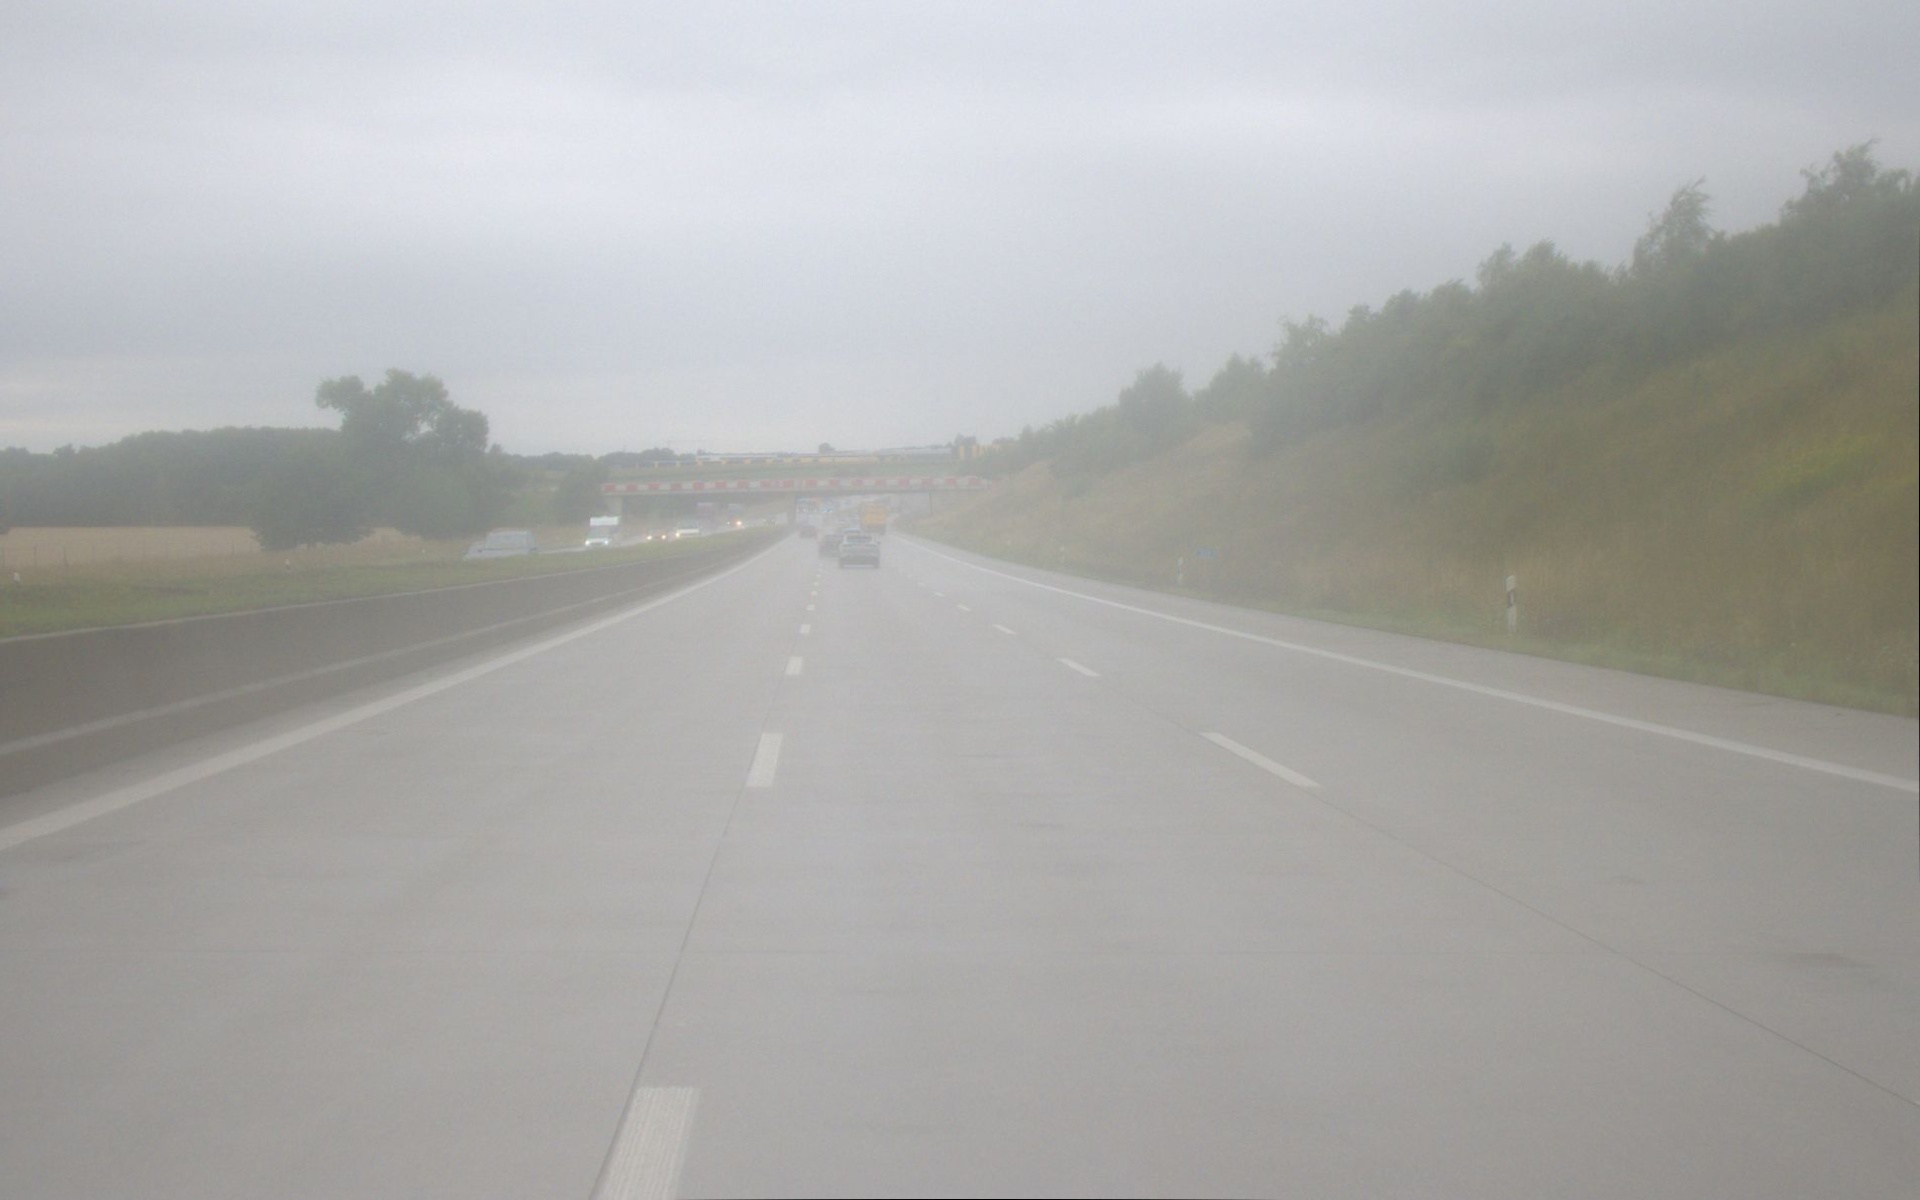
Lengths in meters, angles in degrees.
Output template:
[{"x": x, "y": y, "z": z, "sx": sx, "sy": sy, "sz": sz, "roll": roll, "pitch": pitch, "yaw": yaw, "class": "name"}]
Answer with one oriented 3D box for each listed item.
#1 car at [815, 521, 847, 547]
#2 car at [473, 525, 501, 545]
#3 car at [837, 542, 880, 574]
[{"x": -7.135, "y": -3.634, "z": 189.339, "sx": 1.729, "sy": 1.326, "sz": 4.431, "roll": 0, "pitch": 3, "yaw": -3, "class": "car"}, {"x": -34.272, "y": -4.709, "z": 249.197, "sx": 1.672, "sy": 1.393, "sz": 4.066, "roll": 0, "pitch": 1, "yaw": -3, "class": "car"}, {"x": -4.696, "y": -1.938, "z": 157.828, "sx": 1.847, "sy": 1.326, "sz": 4.431, "roll": 0, "pitch": 3, "yaw": -3, "class": "car"}]
